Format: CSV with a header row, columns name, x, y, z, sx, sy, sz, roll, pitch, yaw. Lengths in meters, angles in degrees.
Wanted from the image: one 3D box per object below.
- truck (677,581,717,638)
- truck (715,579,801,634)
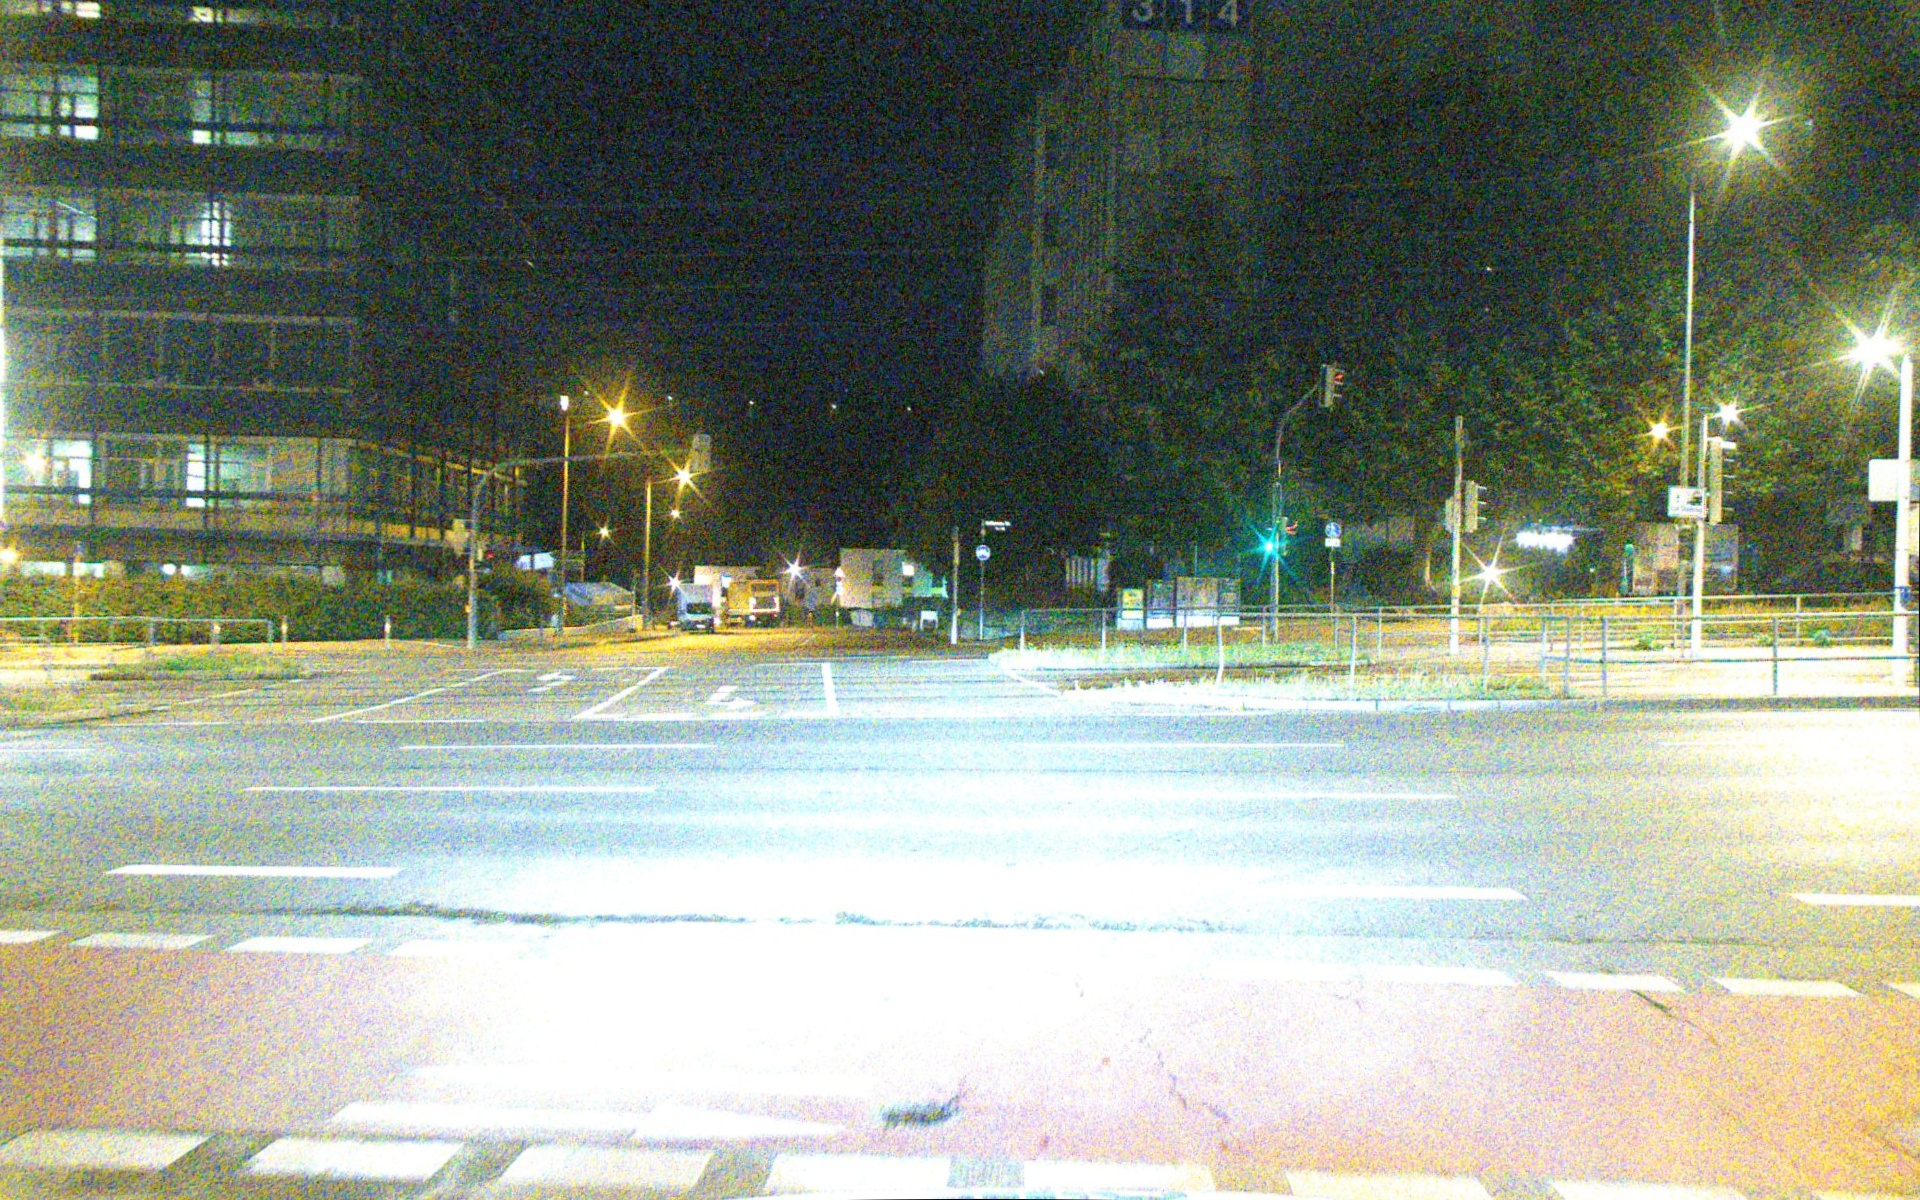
name,x,y,z,sx,sy,sz,roll,pitch,yaw
truck,-18.108,0.619,113.717,2.536,3.772,5.722,0,0,-11
truck,-17.961,0.552,145.828,4.753,4.626,12.587,0,0,-21
